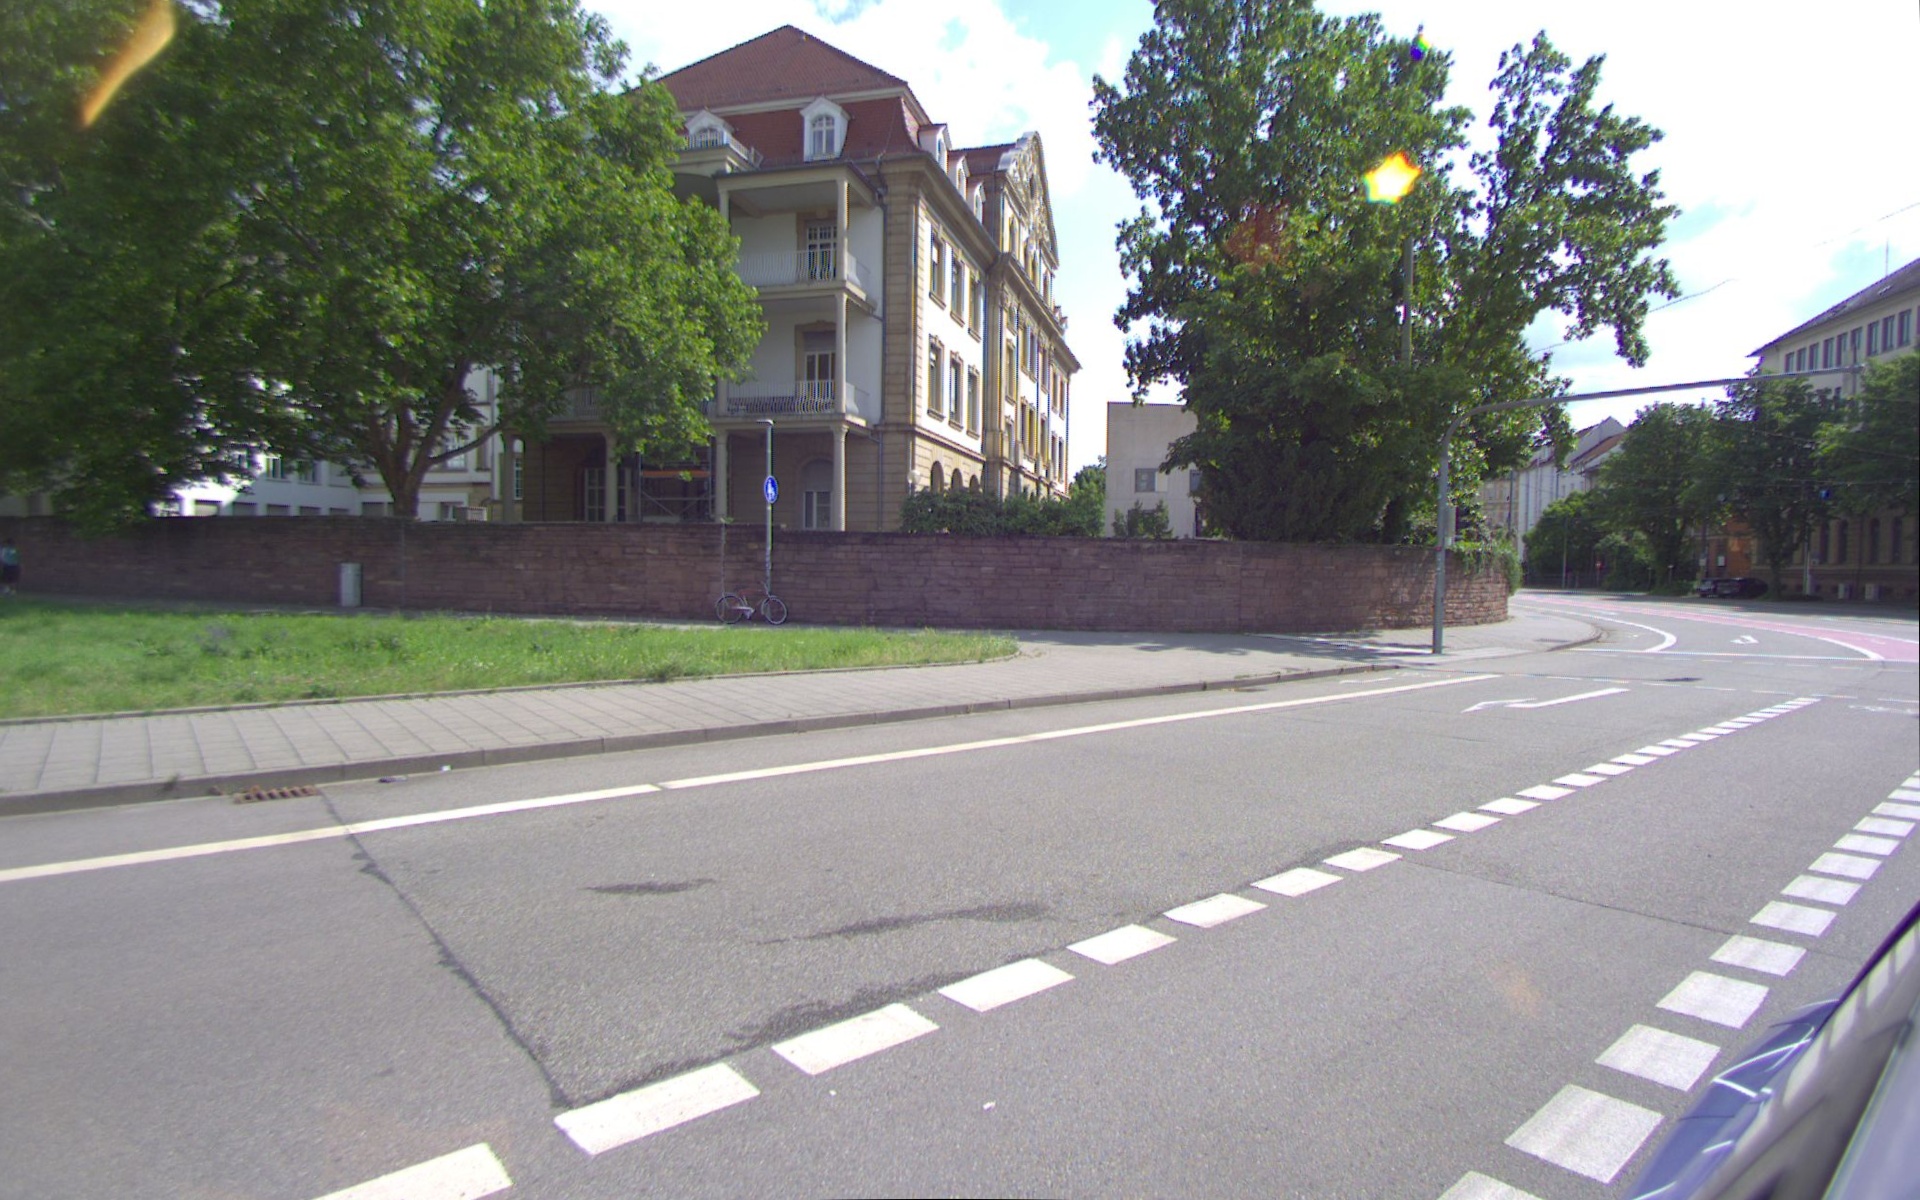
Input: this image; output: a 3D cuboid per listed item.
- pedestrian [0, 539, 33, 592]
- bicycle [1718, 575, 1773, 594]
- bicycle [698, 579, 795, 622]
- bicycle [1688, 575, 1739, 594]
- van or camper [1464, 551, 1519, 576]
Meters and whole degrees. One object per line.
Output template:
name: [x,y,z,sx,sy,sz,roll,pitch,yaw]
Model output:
pedestrian: [-27.963,-1.021,29.813,0.716,1.552,0.721,1,3,22]
bicycle: [55.958,-1.114,72.136,1.030,1.221,2.898,-4,5,-32]
bicycle: [-4.909,0.002,23.329,2.023,0.871,0.858,1,4,4]
bicycle: [56.131,-1.171,75.402,1.053,1.221,2.898,-4,5,-32]
van or camper: [58.826,-4.033,112.121,2.924,2.634,6.751,1,2,6]
